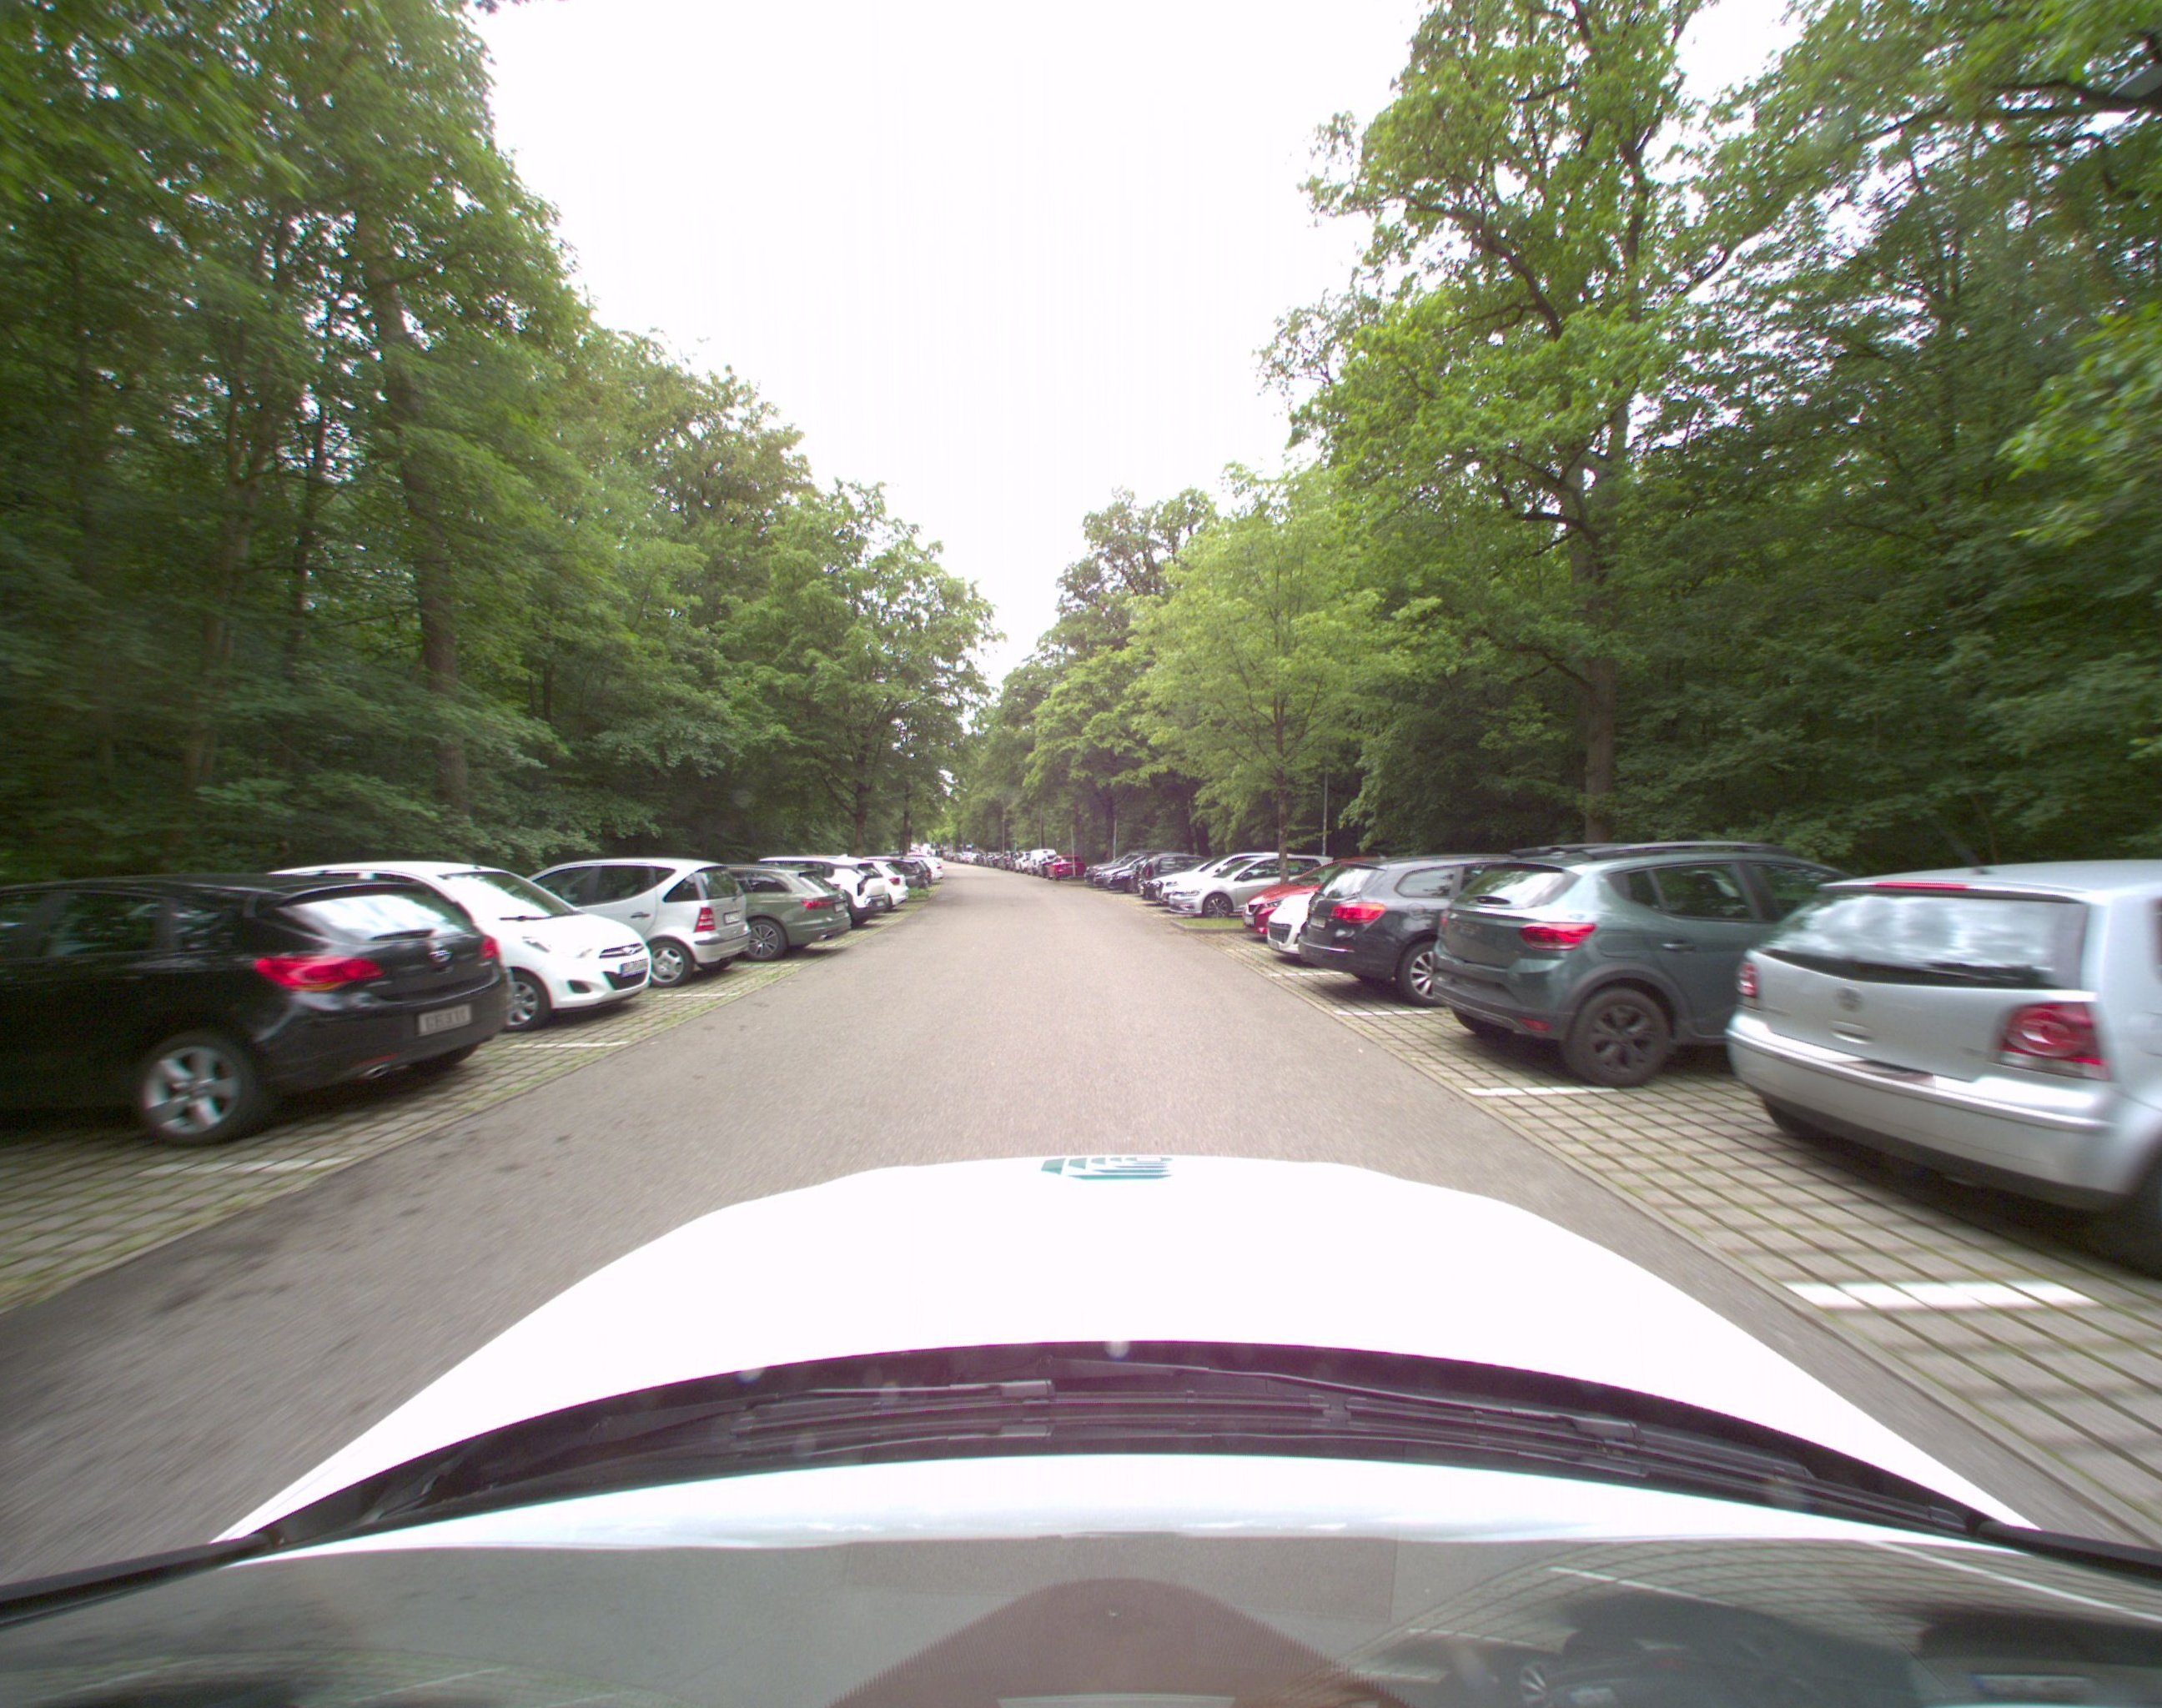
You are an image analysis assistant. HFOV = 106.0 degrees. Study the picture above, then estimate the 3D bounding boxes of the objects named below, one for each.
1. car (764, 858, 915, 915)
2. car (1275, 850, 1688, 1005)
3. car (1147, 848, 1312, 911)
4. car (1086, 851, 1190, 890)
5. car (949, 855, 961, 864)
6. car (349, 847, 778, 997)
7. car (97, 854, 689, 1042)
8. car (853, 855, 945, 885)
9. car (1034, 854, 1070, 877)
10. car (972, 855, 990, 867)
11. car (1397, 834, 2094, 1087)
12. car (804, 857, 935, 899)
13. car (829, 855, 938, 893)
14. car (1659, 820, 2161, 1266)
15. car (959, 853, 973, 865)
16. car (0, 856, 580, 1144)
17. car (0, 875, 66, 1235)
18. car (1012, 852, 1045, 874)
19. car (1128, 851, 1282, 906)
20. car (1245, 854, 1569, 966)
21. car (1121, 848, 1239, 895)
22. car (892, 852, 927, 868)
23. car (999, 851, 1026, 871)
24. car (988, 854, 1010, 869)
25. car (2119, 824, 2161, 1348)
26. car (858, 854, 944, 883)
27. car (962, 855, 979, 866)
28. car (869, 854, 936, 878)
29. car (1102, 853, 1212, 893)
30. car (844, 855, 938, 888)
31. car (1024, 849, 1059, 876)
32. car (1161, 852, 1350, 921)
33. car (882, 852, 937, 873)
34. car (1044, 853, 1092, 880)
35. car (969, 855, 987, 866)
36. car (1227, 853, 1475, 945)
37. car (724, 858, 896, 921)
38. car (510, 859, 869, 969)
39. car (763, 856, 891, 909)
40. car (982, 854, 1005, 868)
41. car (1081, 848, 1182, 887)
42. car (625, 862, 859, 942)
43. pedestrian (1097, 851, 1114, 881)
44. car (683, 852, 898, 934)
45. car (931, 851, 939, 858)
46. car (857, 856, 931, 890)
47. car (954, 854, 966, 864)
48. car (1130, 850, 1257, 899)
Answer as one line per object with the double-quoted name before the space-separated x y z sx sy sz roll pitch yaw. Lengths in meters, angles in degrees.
"car" -6.673 0.871 22.880 3.720 1.419 1.869 -1 0 -5
"car" 4.268 0.712 9.034 3.762 1.481 1.771 0 1 -6
"car" 3.881 0.643 21.734 4.000 1.559 1.975 0 1 -4
"car" 2.369 0.677 34.397 3.992 1.551 1.966 0 0 -14
"car" -21.368 0.869 138.173 1.922 1.520 3.871 0 0 -12
"car" -6.433 0.785 10.607 4.226 1.647 1.966 -1 0 -5
"car" -6.476 0.818 8.104 4.224 1.533 1.760 -1 0 -4
"car" -9.513 0.831 42.629 4.569 1.447 2.076 -1 0 -14
"car" -1.910 0.702 52.338 1.725 1.422 4.269 0 0 -10
"car" -12.411 0.903 101.146 1.669 1.444 3.793 0 0 -16
"car" 4.639 0.661 6.173 3.757 1.589 1.949 0 1 -1
"car" -7.686 0.845 29.961 4.400 1.424 2.031 -1 0 -7
"car" -8.390 0.825 34.918 4.261 1.486 2.053 -1 0 -7
"car" 5.180 0.638 3.780 3.833 1.546 1.729 -1 0 -2
"car" -16.858 0.672 119.100 1.712 1.728 3.983 0 0 -13
"car" -6.092 0.813 5.428 4.219 1.530 2.006 -1 0 0
"car" -6.559 0.840 2.675 4.219 1.473 1.720 -1 -1 0
"car" -4.130 0.650 63.612 1.788 1.662 4.696 0 0 -13
"car" 3.624 0.685 24.249 4.184 1.511 1.888 0 1 -8
"car" 4.514 0.724 11.676 3.924 1.411 1.876 0 1 -4
"car" 3.493 0.608 29.149 3.824 1.531 1.846 -1 0 -8
"car" -20.252 0.744 96.049 3.995 1.816 2.104 -1 0 -16
"car" -6.358 0.628 74.936 1.891 1.747 4.927 0 0 -12
"car" -8.617 0.742 85.099 1.639 1.477 4.130 0 0 -15
"car" 4.945 0.646 1.560 3.689 1.511 1.751 -1 -1 0
"car" -9.866 0.791 44.942 4.563 1.486 1.863 -1 0 -11
"car" -15.472 0.873 113.811 1.726 1.494 3.751 0 0 -18
"car" -12.449 0.800 56.914 4.518 1.584 1.919 -1 0 -12
"car" 2.918 0.704 31.813 3.983 1.475 1.948 0 0 -7
"car" -9.253 0.860 39.934 4.370 1.486 1.883 -1 -1 -13
"car" -2.830 0.562 57.565 1.746 1.780 4.532 0 0 -12
"car" 4.044 0.714 19.204 3.974 1.483 1.879 0 1 -8
"car" -13.541 0.673 64.484 4.227 1.633 2.021 0 0 -12
"car" -0.801 0.676 46.833 1.994 1.479 4.954 0 0 -10
"car" -13.757 0.861 108.185 1.940 1.475 3.973 0 0 -14
"car" 4.722 0.719 14.491 3.797 1.441 1.863 0 1 -12
"car" -6.732 0.854 20.606 3.801 1.421 1.891 -1 0 -9
"car" -5.957 0.869 12.935 4.629 1.478 2.092 -1 0 -4
"car" -7.761 0.837 25.178 3.460 1.481 1.680 -1 0 -6
"car" -9.831 0.735 90.968 1.980 1.537 4.600 0 0 -13
"car" 2.258 0.595 36.822 4.264 1.666 1.952 0 0 -9
"car" -6.410 0.879 15.744 3.783 1.356 1.727 -1 0 -5
"pedestrian" 1.422 0.717 47.903 0.817 1.726 1.000 0 0 -11
"car" -6.290 0.808 17.947 3.943 1.628 2.000 -1 0 3
"car" -34.337 0.120 191.180 1.630 1.415 3.395 0 3 -14
"car" -8.576 0.850 37.616 3.220 1.444 1.674 -1 0 -11
"car" -19.518 0.835 131.225 1.712 1.509 3.983 0 0 -13
"car" 3.668 0.657 26.919 3.822 1.457 1.805 -1 0 -6
